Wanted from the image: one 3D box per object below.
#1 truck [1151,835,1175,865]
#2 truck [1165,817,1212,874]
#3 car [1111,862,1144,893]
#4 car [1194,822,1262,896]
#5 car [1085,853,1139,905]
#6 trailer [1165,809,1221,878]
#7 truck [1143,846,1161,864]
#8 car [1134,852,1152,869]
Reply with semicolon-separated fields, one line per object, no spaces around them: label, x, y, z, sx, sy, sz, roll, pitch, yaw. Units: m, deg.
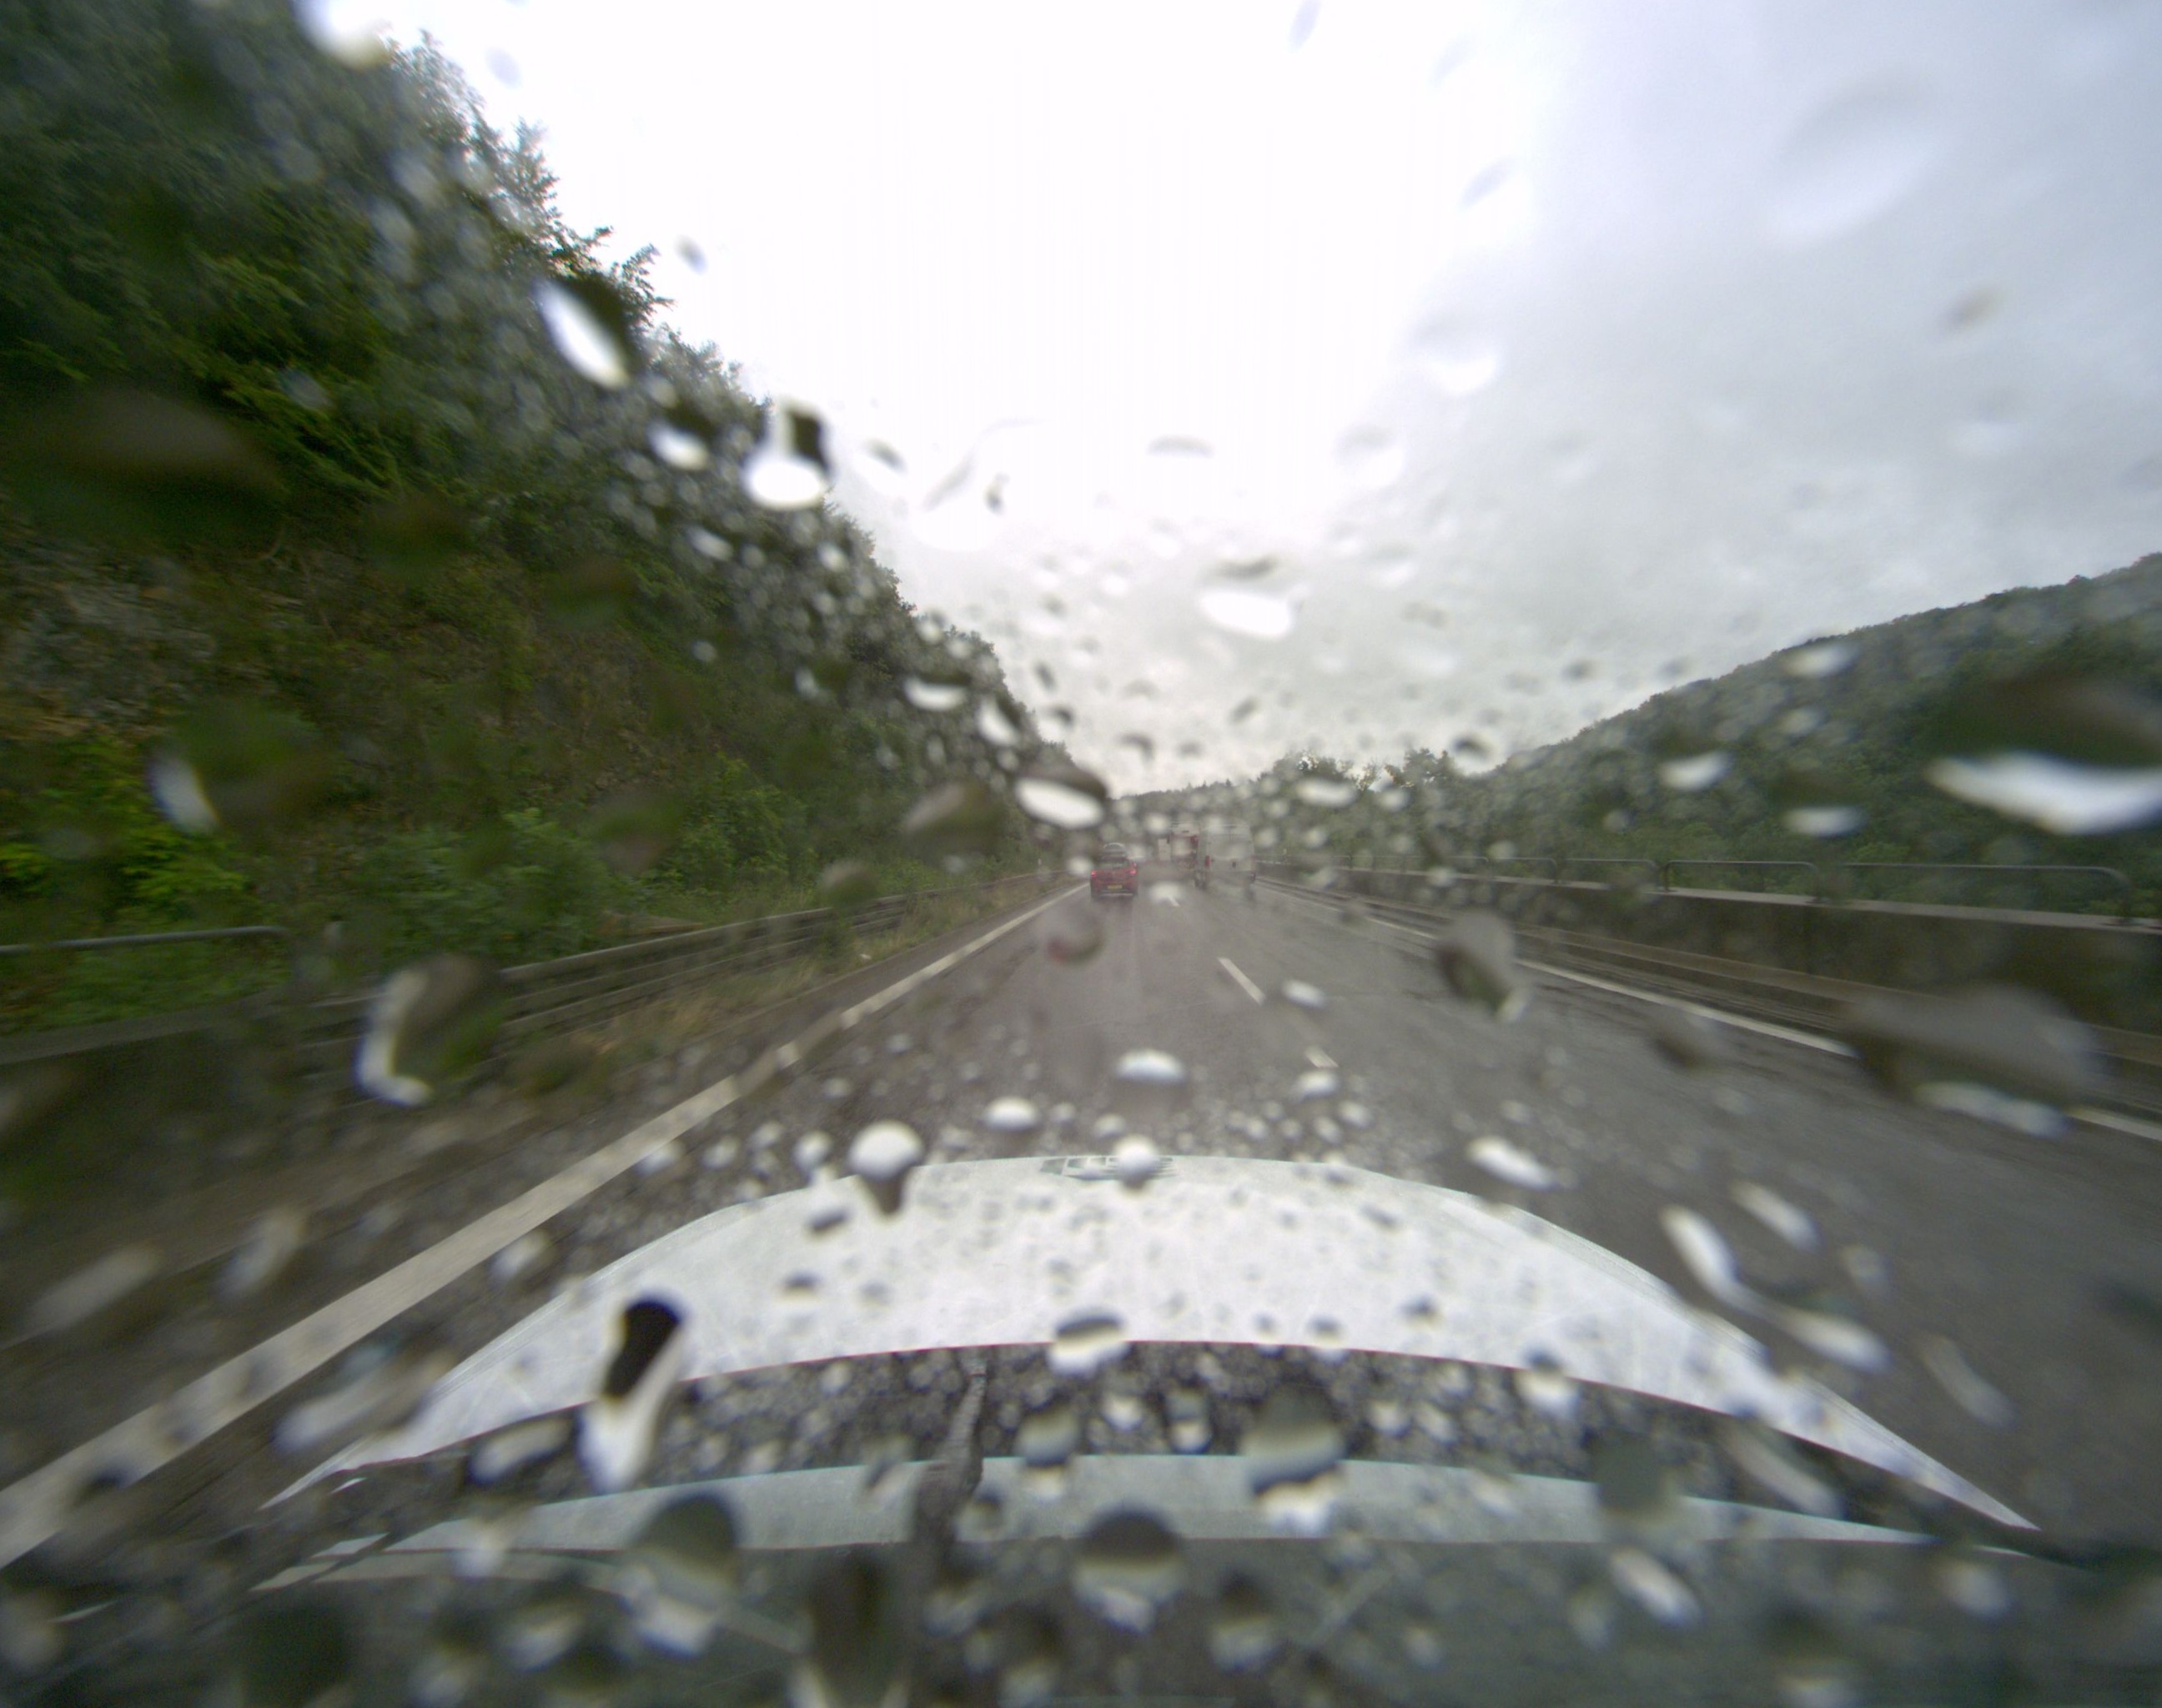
truck;11.916;-0.521;118.780;2.676;4.094;9.320;-5;-1;2
truck;8.100;-0.630;62.167;3.204;3.978;5.447;-3;0;6
car;2.931;1.428;50.643;1.824;1.715;3.649;-5;-1;4
car;6.140;0.219;34.898;2.195;2.794;7.393;-1;0;5
car;1.176;0.887;30.288;1.751;1.684;4.003;-5;-1;3
trailer;7.439;-0.623;55.780;3.202;3.999;13.545;-3;0;6
truck;13.517;0.163;155.613;3.048;3.312;8.078;-1;0;4
car;7.127;0.723;93.461;1.867;1.706;3.892;-5;-1;3
